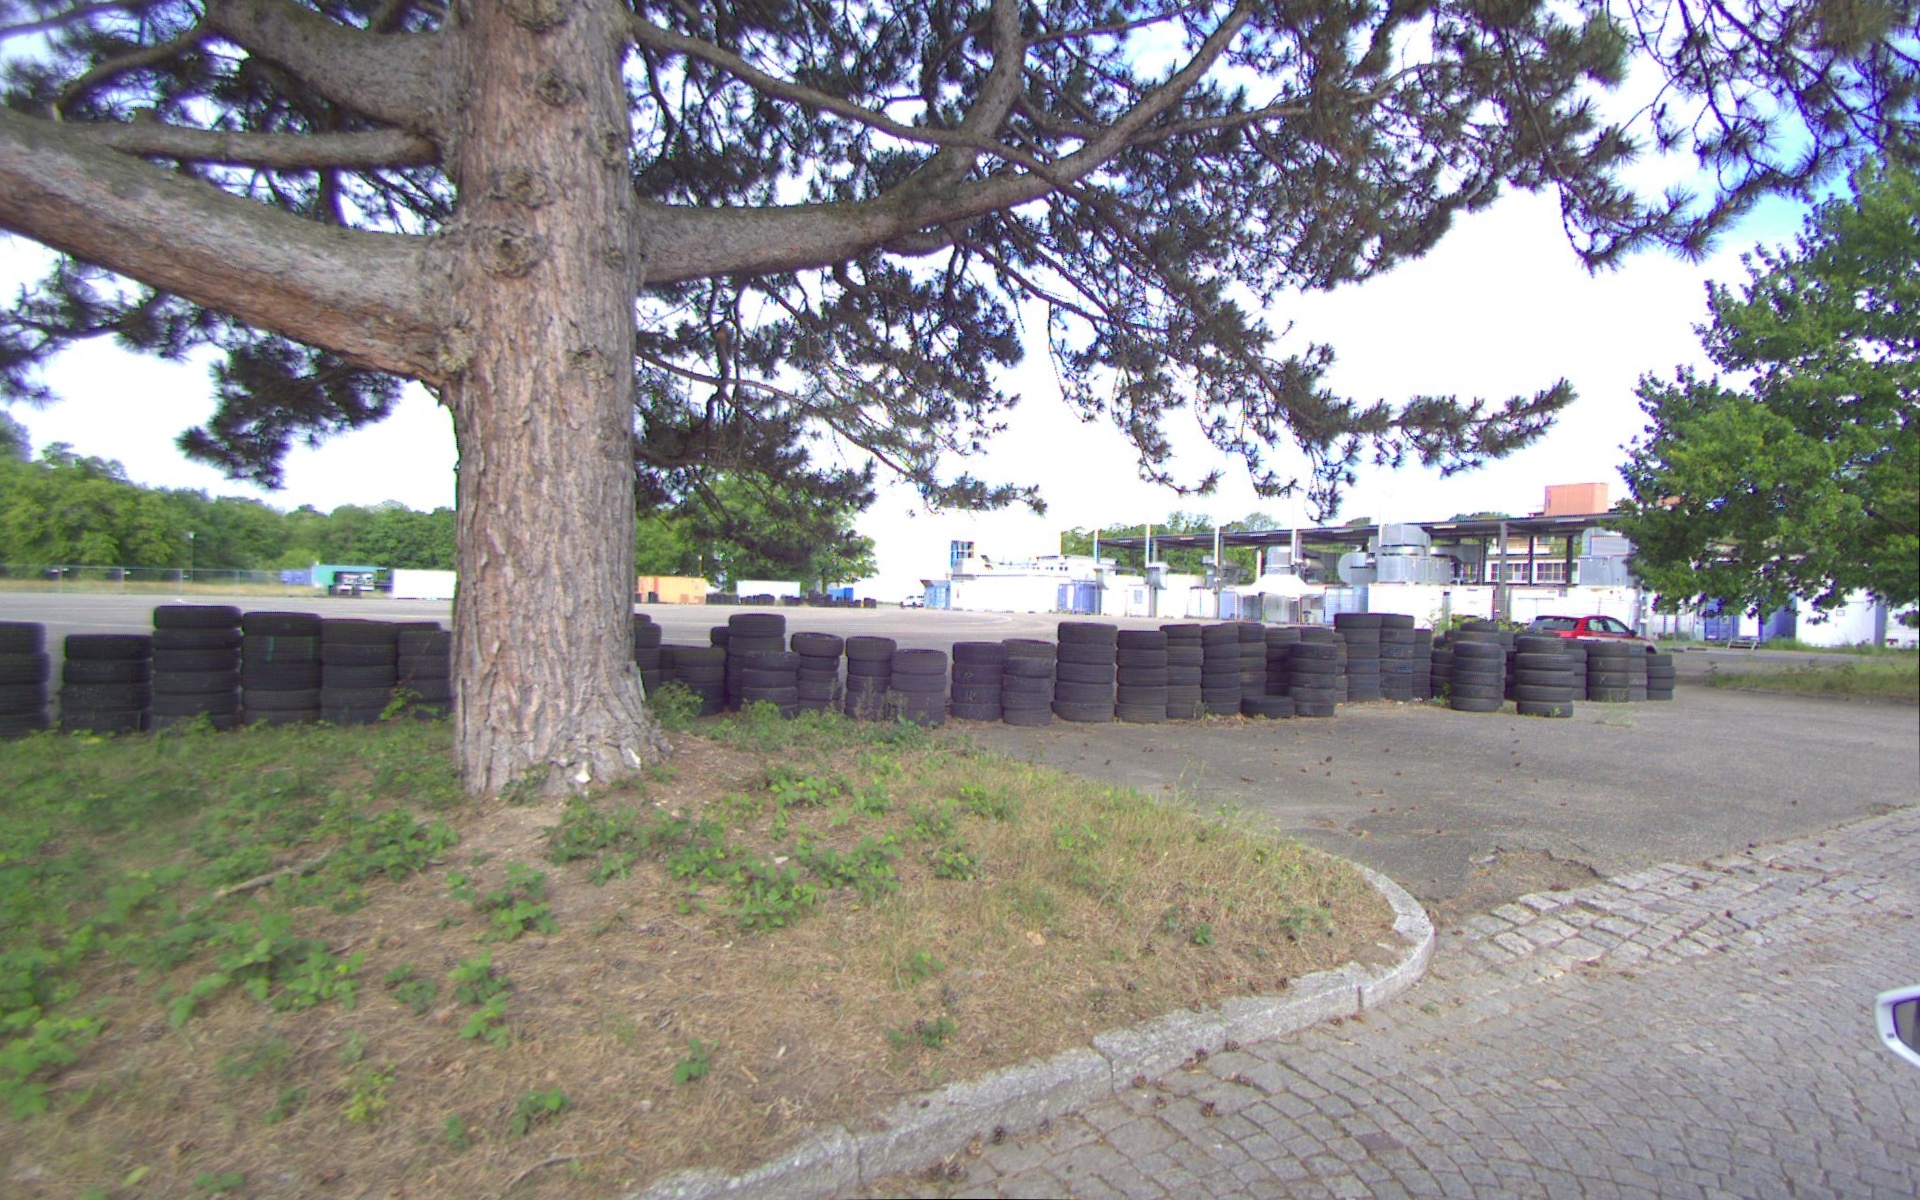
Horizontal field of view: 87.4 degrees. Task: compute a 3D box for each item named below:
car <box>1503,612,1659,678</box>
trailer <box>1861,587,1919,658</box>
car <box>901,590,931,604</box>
[{"bbox_3d":[15.376,1.095,24.868,3.443,1.472,1.760,2,0,-27],"label":"car"},{"bbox_3d":[45.525,1.075,46.557,8.683,3.108,3.142,1,1,-31],"label":"trailer"},{"bbox_3d":[-5.191,-0.346,118.215,1.614,1.553,3.941,1,1,-34],"label":"car"}]
